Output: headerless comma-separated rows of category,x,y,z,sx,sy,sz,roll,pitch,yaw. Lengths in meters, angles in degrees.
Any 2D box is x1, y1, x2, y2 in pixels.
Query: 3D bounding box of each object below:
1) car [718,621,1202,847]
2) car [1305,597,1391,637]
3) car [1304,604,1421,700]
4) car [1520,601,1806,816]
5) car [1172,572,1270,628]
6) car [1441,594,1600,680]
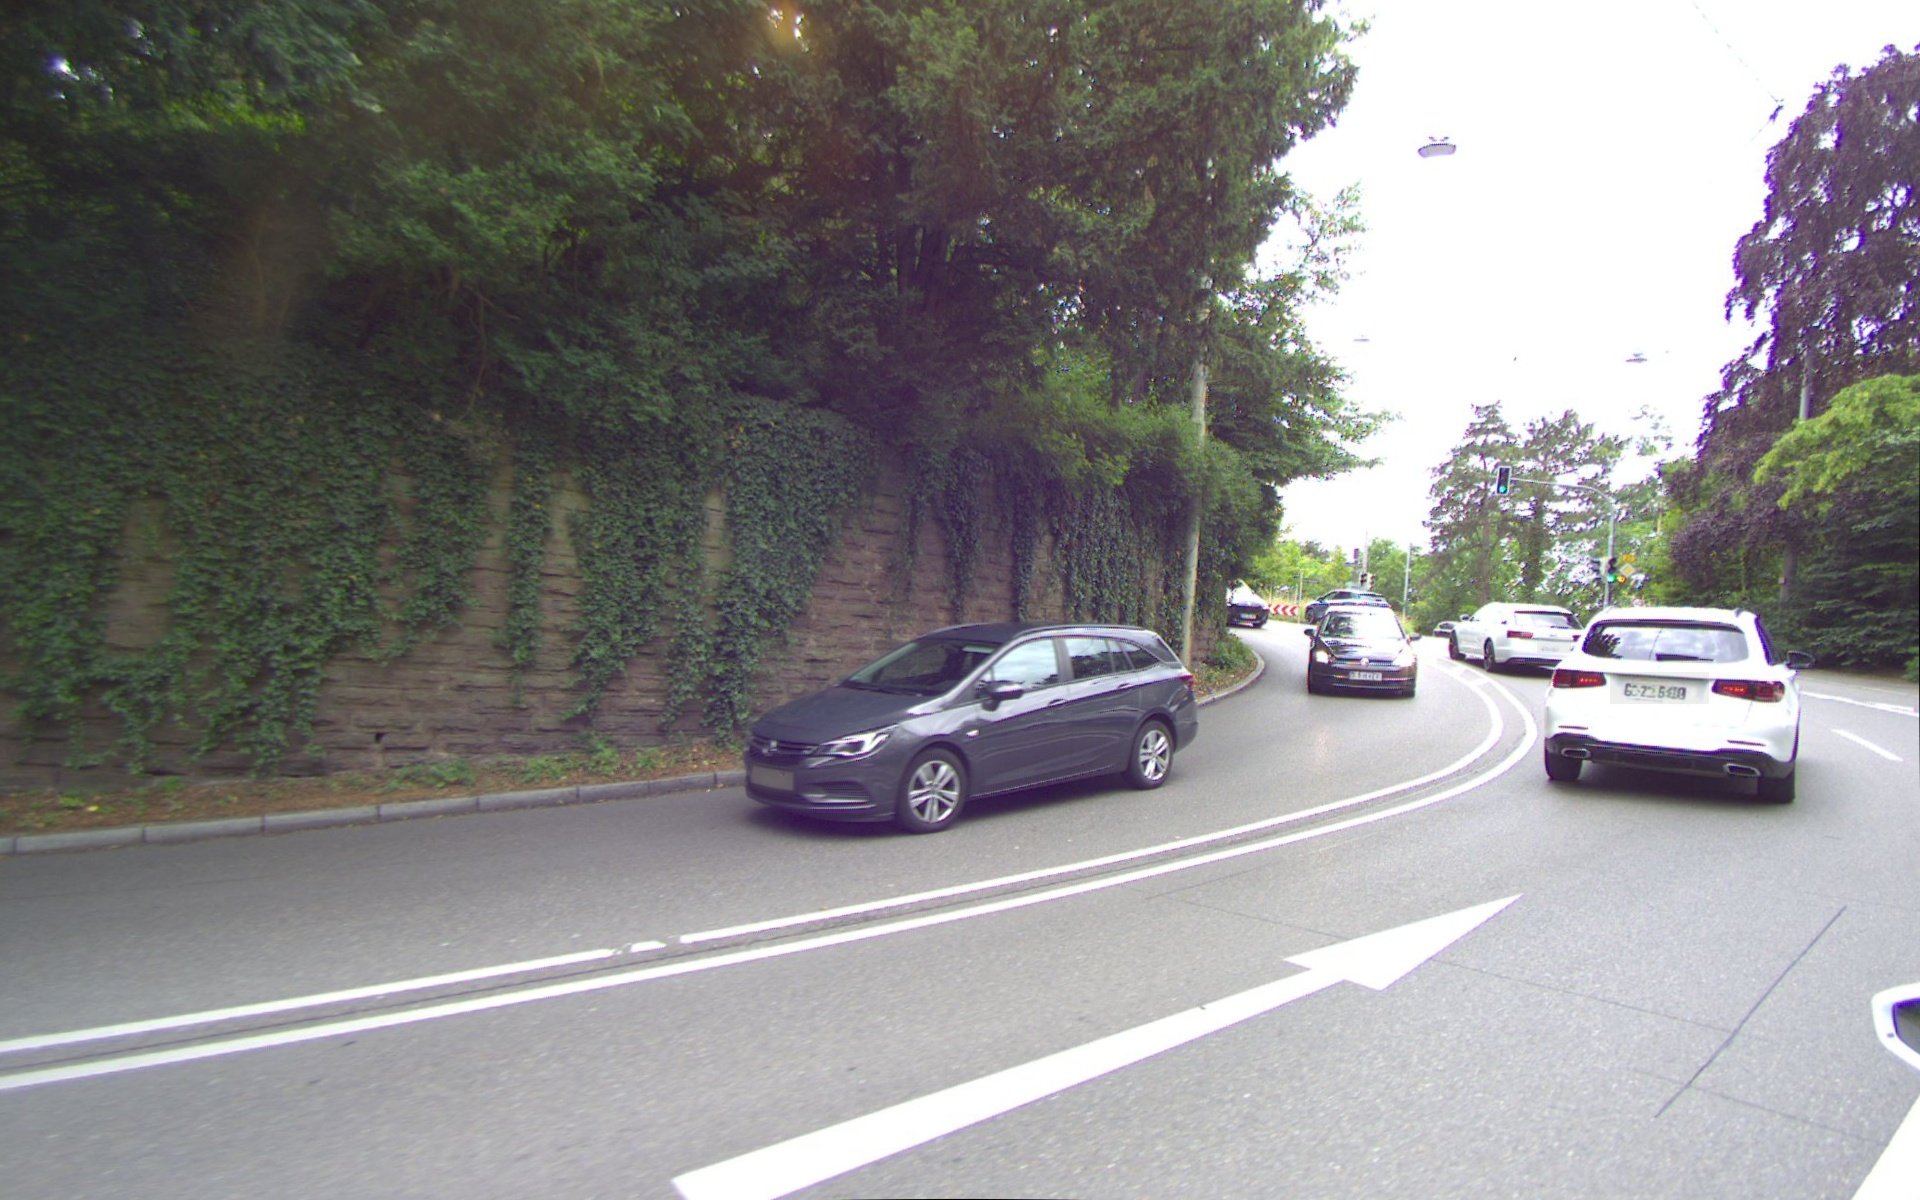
car,0.215,0.924,8.679,4.266,1.459,1.641,1,-1,-44
car,15.910,0.677,41.395,1.603,1.439,3.850,2,1,-7
car,7.258,0.853,18.438,1.772,1.462,4.000,1,1,19
car,7.224,0.846,10.091,1.838,1.627,4.645,-1,0,42
car,8.534,-0.066,33.190,1.579,1.595,4.054,0,4,-10
car,12.473,0.739,22.710,1.833,1.555,4.778,2,2,13
